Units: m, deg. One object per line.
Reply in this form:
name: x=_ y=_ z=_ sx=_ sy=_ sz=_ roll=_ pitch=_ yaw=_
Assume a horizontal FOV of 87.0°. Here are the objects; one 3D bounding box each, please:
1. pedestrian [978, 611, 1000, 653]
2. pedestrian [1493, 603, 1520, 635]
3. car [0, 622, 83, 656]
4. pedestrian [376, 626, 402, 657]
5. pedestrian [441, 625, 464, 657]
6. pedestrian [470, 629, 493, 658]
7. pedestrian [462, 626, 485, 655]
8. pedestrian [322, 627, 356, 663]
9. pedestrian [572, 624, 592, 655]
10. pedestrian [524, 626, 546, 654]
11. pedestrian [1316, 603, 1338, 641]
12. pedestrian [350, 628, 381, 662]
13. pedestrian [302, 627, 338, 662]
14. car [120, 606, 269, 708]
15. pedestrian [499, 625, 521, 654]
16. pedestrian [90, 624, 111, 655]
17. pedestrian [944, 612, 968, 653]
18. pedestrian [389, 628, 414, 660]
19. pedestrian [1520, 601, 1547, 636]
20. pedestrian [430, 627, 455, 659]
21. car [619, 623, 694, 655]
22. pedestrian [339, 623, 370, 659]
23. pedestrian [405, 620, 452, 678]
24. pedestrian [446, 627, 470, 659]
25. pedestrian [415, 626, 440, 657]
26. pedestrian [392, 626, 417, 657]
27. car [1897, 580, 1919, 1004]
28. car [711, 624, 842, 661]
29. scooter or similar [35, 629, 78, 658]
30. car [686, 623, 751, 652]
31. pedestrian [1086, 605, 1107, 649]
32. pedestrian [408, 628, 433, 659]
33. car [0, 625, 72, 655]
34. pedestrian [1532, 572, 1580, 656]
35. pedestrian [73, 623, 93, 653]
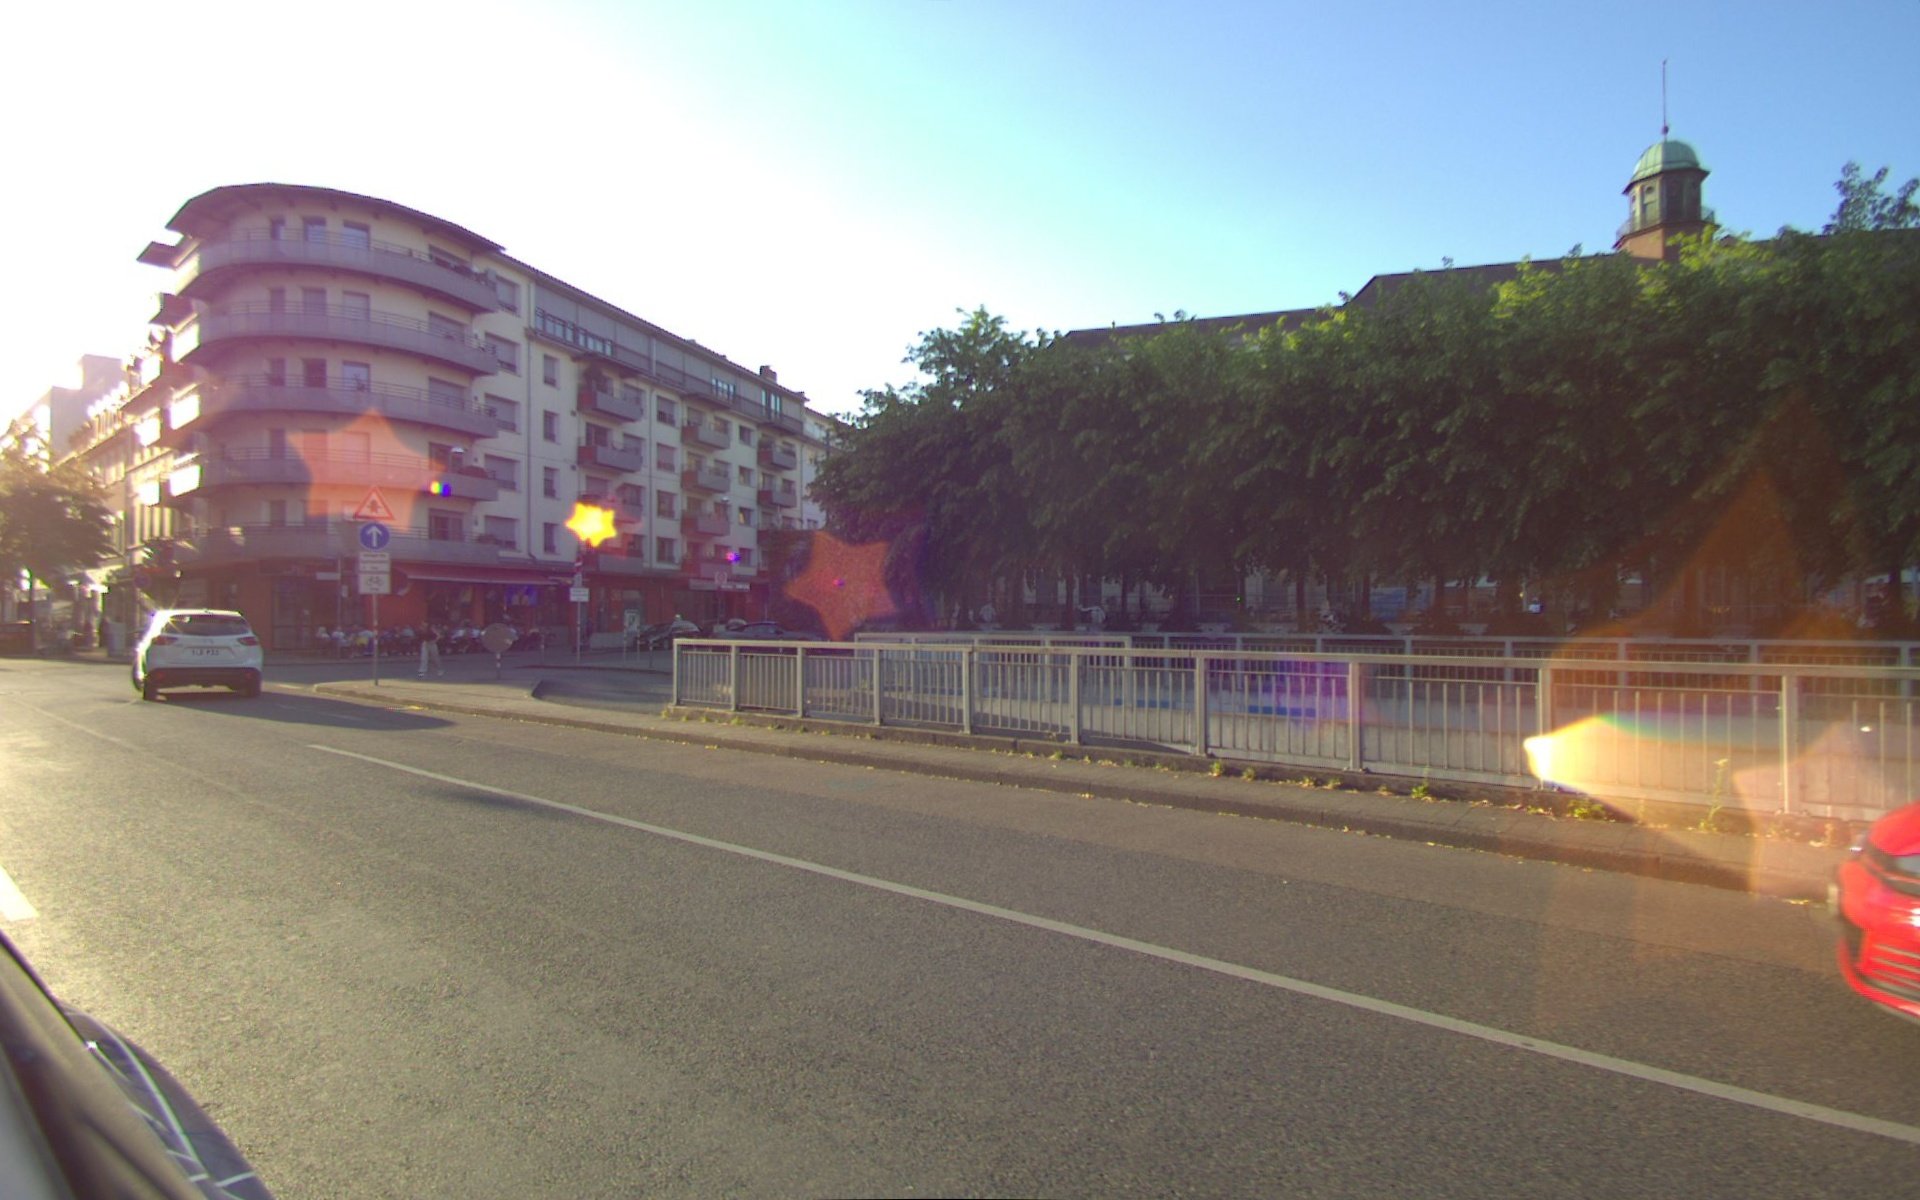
pedestrian: x=1.122 y=1.235 z=39.187 sx=0.696 sy=1.598 sz=0.618 roll=1 pitch=-1 yaw=18
pedestrian: x=18.146 y=0.631 z=33.624 sx=0.605 sy=1.067 sz=0.712 roll=-1 pitch=-1 yaw=16
car: x=-46.466 y=1.935 z=50.355 sx=1.883 sy=1.548 sz=4.031 roll=-2 pitch=0 yaw=41
pedestrian: x=-23.234 y=1.677 z=41.171 sx=0.699 sy=1.256 sz=0.615 roll=1 pitch=-1 yaw=31
pedestrian: x=-21.976 y=1.772 z=43.807 sx=0.699 sy=1.343 sz=0.615 roll=1 pitch=-1 yaw=31
pedestrian: x=-20.941 y=1.886 z=44.276 sx=0.698 sy=1.234 sz=0.616 roll=1 pitch=-1 yaw=28
pedestrian: x=-21.847 y=1.813 z=45.449 sx=0.698 sy=1.234 sz=0.616 roll=1 pitch=-1 yaw=28
pedestrian: x=-23.065 y=1.662 z=37.580 sx=0.746 sy=1.283 sz=0.820 roll=1 pitch=-1 yaw=32
pedestrian: x=-18.700 y=1.954 z=50.132 sx=0.616 sy=1.480 sz=0.698 roll=1 pitch=-1 yaw=15
pedestrian: x=-19.888 y=1.869 z=47.332 sx=0.696 sy=1.297 sz=0.618 roll=1 pitch=-1 yaw=20
pedestrian: x=12.890 y=0.772 z=35.570 sx=0.648 sy=1.289 sz=0.787 roll=1 pitch=-1 yaw=16
pedestrian: x=-22.792 y=1.716 z=38.792 sx=0.827 sy=1.256 sz=0.715 roll=0 pitch=-1 yaw=35
pedestrian: x=-23.861 y=1.655 z=37.723 sx=0.765 sy=1.251 sz=0.890 roll=1 pitch=-1 yaw=32
car: x=-15.291 y=1.033 z=20.118 sx=1.969 sy=1.774 sz=4.472 roll=2 pitch=-2 yaw=-42
pedestrian: x=-21.085 y=1.846 z=47.398 sx=0.696 sy=1.297 sz=0.618 roll=1 pitch=-1 yaw=20
pedestrian: x=-47.722 y=2.181 z=56.202 sx=0.875 sy=1.620 sz=0.764 roll=0 pitch=1 yaw=41
pedestrian: x=-0.157 y=1.261 z=39.603 sx=0.763 sy=1.598 sz=0.686 roll=1 pitch=-1 yaw=18
pedestrian: x=-22.477 y=1.768 z=40.718 sx=0.699 sy=1.256 sz=0.615 roll=1 pitch=-1 yaw=31
pedestrian: x=18.873 y=0.605 z=33.303 sx=0.605 sy=1.128 sz=0.712 roll=-1 pitch=-1 yaw=16
pedestrian: x=-21.561 y=1.782 z=42.151 sx=0.699 sy=1.297 sz=0.615 roll=1 pitch=-1 yaw=31
car: x=-15.968 y=2.032 z=53.456 sx=1.954 sy=1.608 sz=3.977 roll=-1 pitch=-1 yaw=17
pedestrian: x=-23.620 y=1.589 z=39.479 sx=0.827 sy=1.358 sz=0.740 roll=0 pitch=-1 yaw=35
pedestrian: x=-14.743 y=1.359 z=28.078 sx=0.761 sy=1.579 sz=0.896 roll=-1 pitch=-2 yaw=16
pedestrian: x=-21.301 y=1.813 z=42.971 sx=0.699 sy=1.297 sz=0.615 roll=1 pitch=-1 yaw=31
pedestrian: x=-22.500 y=1.751 z=42.786 sx=0.699 sy=1.297 sz=0.650 roll=1 pitch=-1 yaw=31
pedestrian: x=-22.956 y=1.705 z=41.838 sx=0.699 sy=1.256 sz=0.615 roll=1 pitch=-1 yaw=31
car: x=4.961 y=0.693 z=2.369 sx=3.948 sy=1.564 sz=1.674 roll=-1 pitch=-4 yaw=41
car: x=-6.873 y=1.587 z=38.079 sx=4.479 sy=1.328 sz=1.993 roll=-1 pitch=-2 yaw=10
scooter or similar: x=-40.575 y=1.939 z=45.448 sx=0.525 sy=1.235 sz=1.385 roll=-2 pitch=-1 yaw=37
car: x=-14.128 y=2.184 z=59.369 sx=1.954 sy=1.608 sz=3.977 roll=-1 pitch=-1 yaw=17
pedestrian: x=5.102 y=1.011 z=37.751 sx=0.648 sy=1.598 sz=0.787 roll=1 pitch=-1 yaw=16
pedestrian: x=-22.091 y=1.777 z=41.412 sx=0.699 sy=1.256 sz=0.615 roll=1 pitch=-1 yaw=31
car: x=-48.501 y=2.074 z=51.689 sx=1.820 sy=1.418 sz=4.525 roll=-2 pitch=0 yaw=39
pedestrian: x=11.704 y=0.277 z=19.890 sx=0.672 sy=1.607 sz=0.698 roll=-1 pitch=-1 yaw=23
pedestrian: x=-48.184 y=2.079 z=55.587 sx=0.875 sy=1.539 sz=0.726 roll=0 pitch=1 yaw=41
